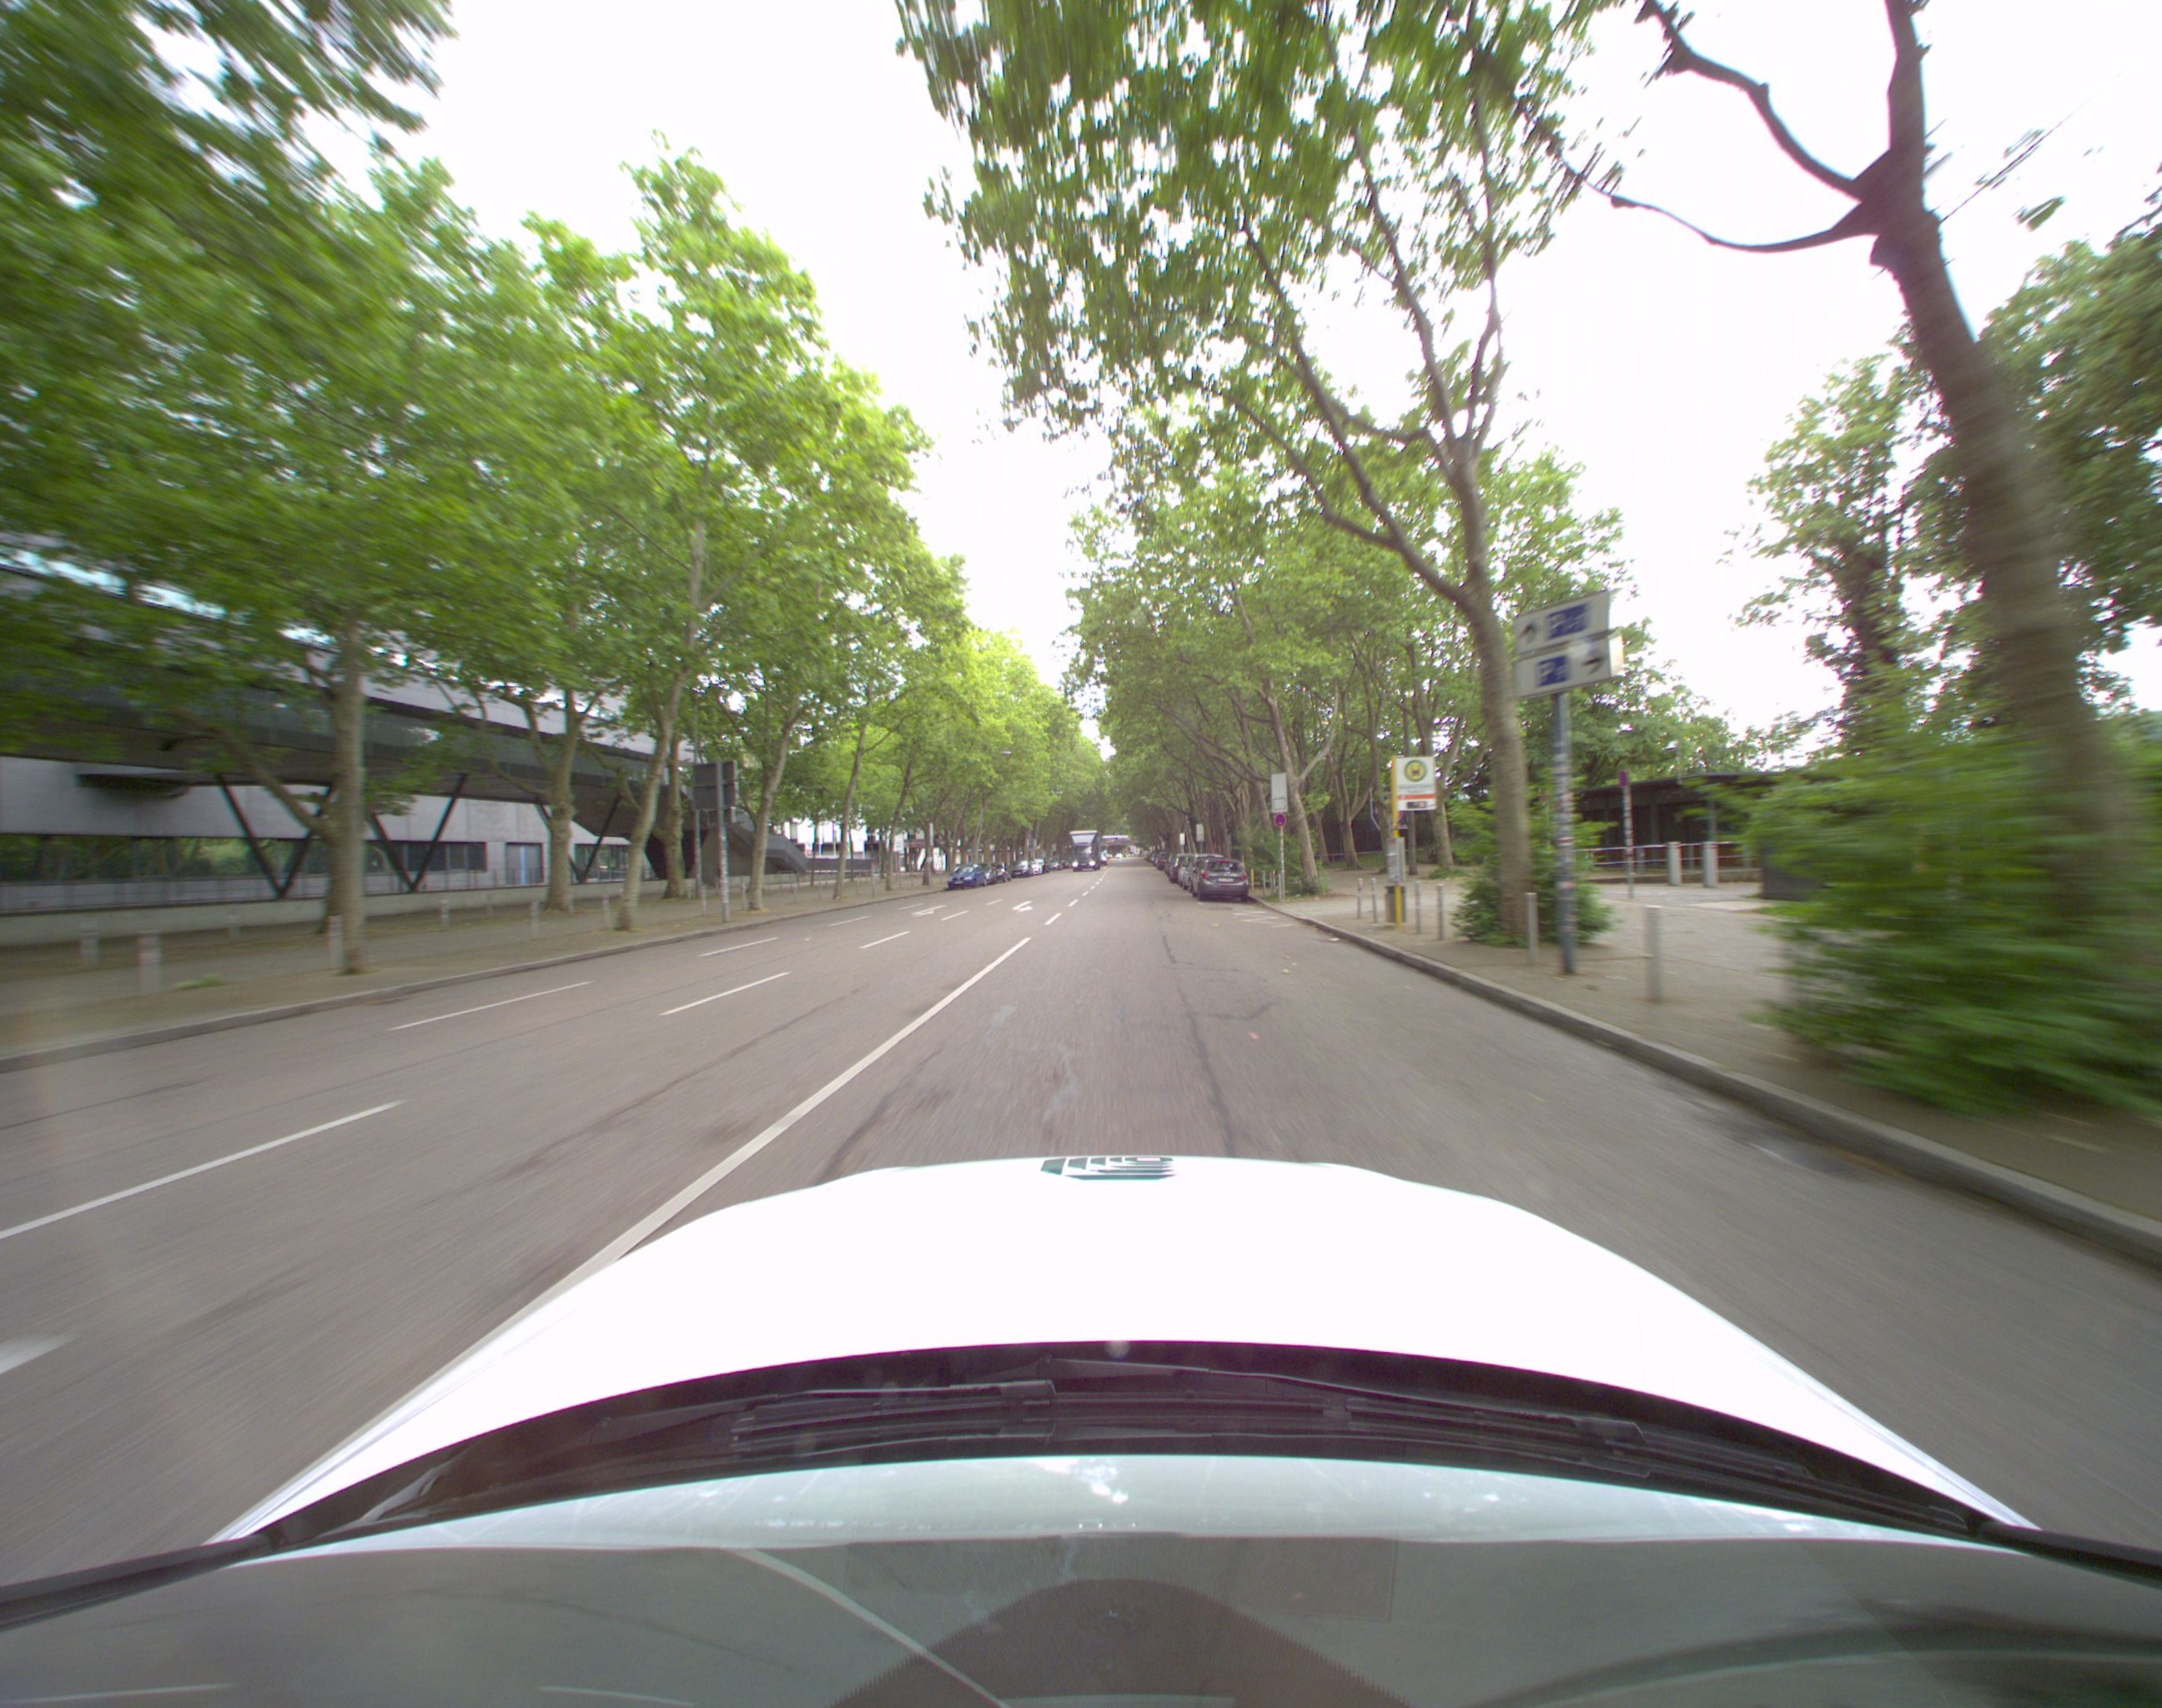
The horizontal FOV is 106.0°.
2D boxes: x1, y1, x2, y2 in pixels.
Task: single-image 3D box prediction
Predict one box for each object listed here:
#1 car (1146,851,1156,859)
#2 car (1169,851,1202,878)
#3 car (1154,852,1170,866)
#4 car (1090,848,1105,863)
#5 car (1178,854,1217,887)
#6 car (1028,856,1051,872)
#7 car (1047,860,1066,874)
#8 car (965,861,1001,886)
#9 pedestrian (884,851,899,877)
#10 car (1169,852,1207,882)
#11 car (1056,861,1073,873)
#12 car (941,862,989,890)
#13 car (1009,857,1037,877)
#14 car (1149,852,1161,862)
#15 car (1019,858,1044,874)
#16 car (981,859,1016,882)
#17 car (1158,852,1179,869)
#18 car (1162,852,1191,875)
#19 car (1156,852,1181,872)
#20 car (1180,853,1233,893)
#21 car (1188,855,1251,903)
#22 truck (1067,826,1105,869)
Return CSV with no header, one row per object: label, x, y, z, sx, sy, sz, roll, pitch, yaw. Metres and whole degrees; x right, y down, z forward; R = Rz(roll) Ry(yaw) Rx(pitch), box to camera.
car,13.621,0.247,158.227,1.748,1.534,3.933,0,0,3
car,6.438,0.650,50.387,1.748,1.597,3.933,0,0,3
car,9.432,0.612,94.985,1.748,1.534,3.933,-2,0,3
car,2.319,0.203,113.598,1.972,1.934,4.117,-2,0,3
car,5.660,0.764,39.936,1.667,1.490,3.692,2,0,5
car,-4.044,0.994,80.298,1.888,1.438,4.001,-3,-2,2
car,-2.837,1.546,94.616,1.888,1.438,4.001,-3,-2,2
car,-6.298,1.232,52.721,1.760,1.418,3.761,-5,-1,0
pedestrian,-13.940,0.749,59.913,0.775,1.835,0.870,-2,0,-31
car,5.814,0.688,44.640,1.748,1.490,4.420,2,0,3
car,-2.150,1.782,107.195,1.888,1.438,4.001,-3,-2,2
car,-6.752,1.266,47.783,1.686,1.418,3.769,-5,-1,8
car,-4.757,1.079,67.449,1.758,1.418,3.764,-5,-1,3
car,12.383,0.462,136.562,1.748,1.534,3.933,-3,0,3
car,-4.499,1.152,74.594,1.725,1.332,4.003,-3,-2,3
car,-5.795,1.154,57.554,1.758,1.418,3.764,-5,-1,3
car,8.047,0.592,75.467,1.748,1.534,3.933,0,0,3
car,6.559,0.652,56.262,1.748,1.534,3.933,0,0,3
car,6.797,0.618,63.504,1.748,1.534,3.933,0,0,3
car,5.311,0.765,34.918,1.712,1.567,4.095,2,0,2
car,4.873,0.818,29.168,1.692,1.519,4.458,2,0,3
truck,0.588,-0.612,81.607,2.628,3.901,9.556,-3,0,6
